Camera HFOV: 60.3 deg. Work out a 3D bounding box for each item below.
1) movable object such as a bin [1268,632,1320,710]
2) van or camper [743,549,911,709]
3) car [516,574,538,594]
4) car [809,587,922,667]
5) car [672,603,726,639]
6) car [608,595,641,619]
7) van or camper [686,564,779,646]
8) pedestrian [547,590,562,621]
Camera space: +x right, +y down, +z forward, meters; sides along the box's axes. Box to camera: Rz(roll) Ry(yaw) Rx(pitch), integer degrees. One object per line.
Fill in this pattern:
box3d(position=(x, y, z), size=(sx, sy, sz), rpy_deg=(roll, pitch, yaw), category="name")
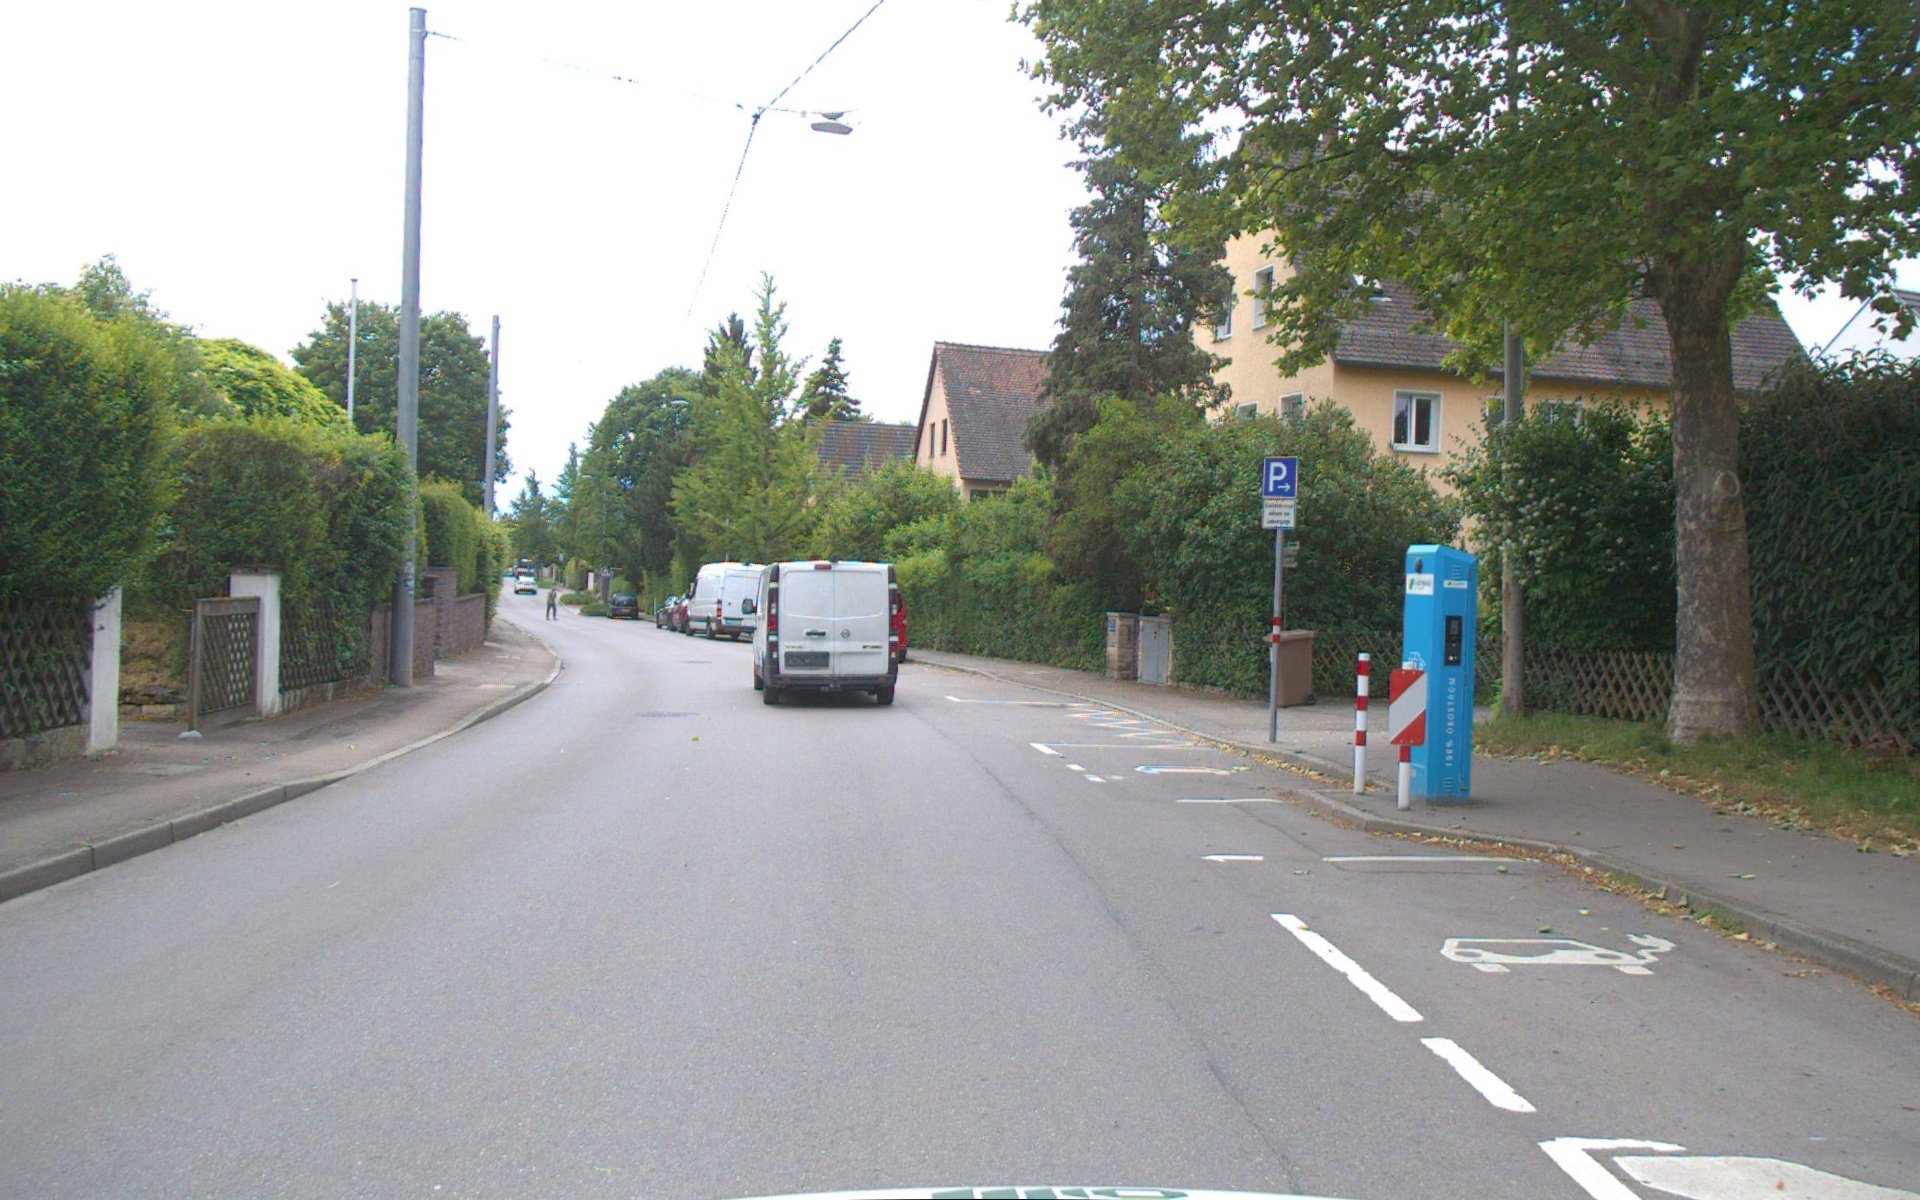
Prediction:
box3d(position=(4.872, 1.029, 24.160), size=(0.591, 1.088, 0.568), rpy_deg=(2, 0, -3), category="movable object such as a bin")
box3d(position=(-2.071, 0.322, 24.370), size=(1.890, 2.048, 4.817), rpy_deg=(1, 2, -11), category="van or camper")
box3d(position=(-40.297, -1.519, 154.000), size=(1.749, 1.679, 3.625), rpy_deg=(0, 2, -19), category="car")
box3d(position=(-2.397, 0.619, 40.798), size=(1.732, 1.828, 4.927), rpy_deg=(1, 0, -16), category="car")
box3d(position=(-10.524, 0.826, 66.417), size=(1.507, 1.327, 4.010), rpy_deg=(1, 0, -18), category="car")
box3d(position=(-19.797, 0.392, 97.611), size=(1.507, 1.327, 3.211), rpy_deg=(1, 0, -18), category="car")
box3d(position=(-8.156, 0.145, 58.825), size=(2.035, 2.721, 6.293), rpy_deg=(2, 0, -19), category="van or camper")
box3d(position=(-20.947, 0.277, 85.483), size=(0.543, 1.586, 0.554), rpy_deg=(1, 2, 11), category="pedestrian")
